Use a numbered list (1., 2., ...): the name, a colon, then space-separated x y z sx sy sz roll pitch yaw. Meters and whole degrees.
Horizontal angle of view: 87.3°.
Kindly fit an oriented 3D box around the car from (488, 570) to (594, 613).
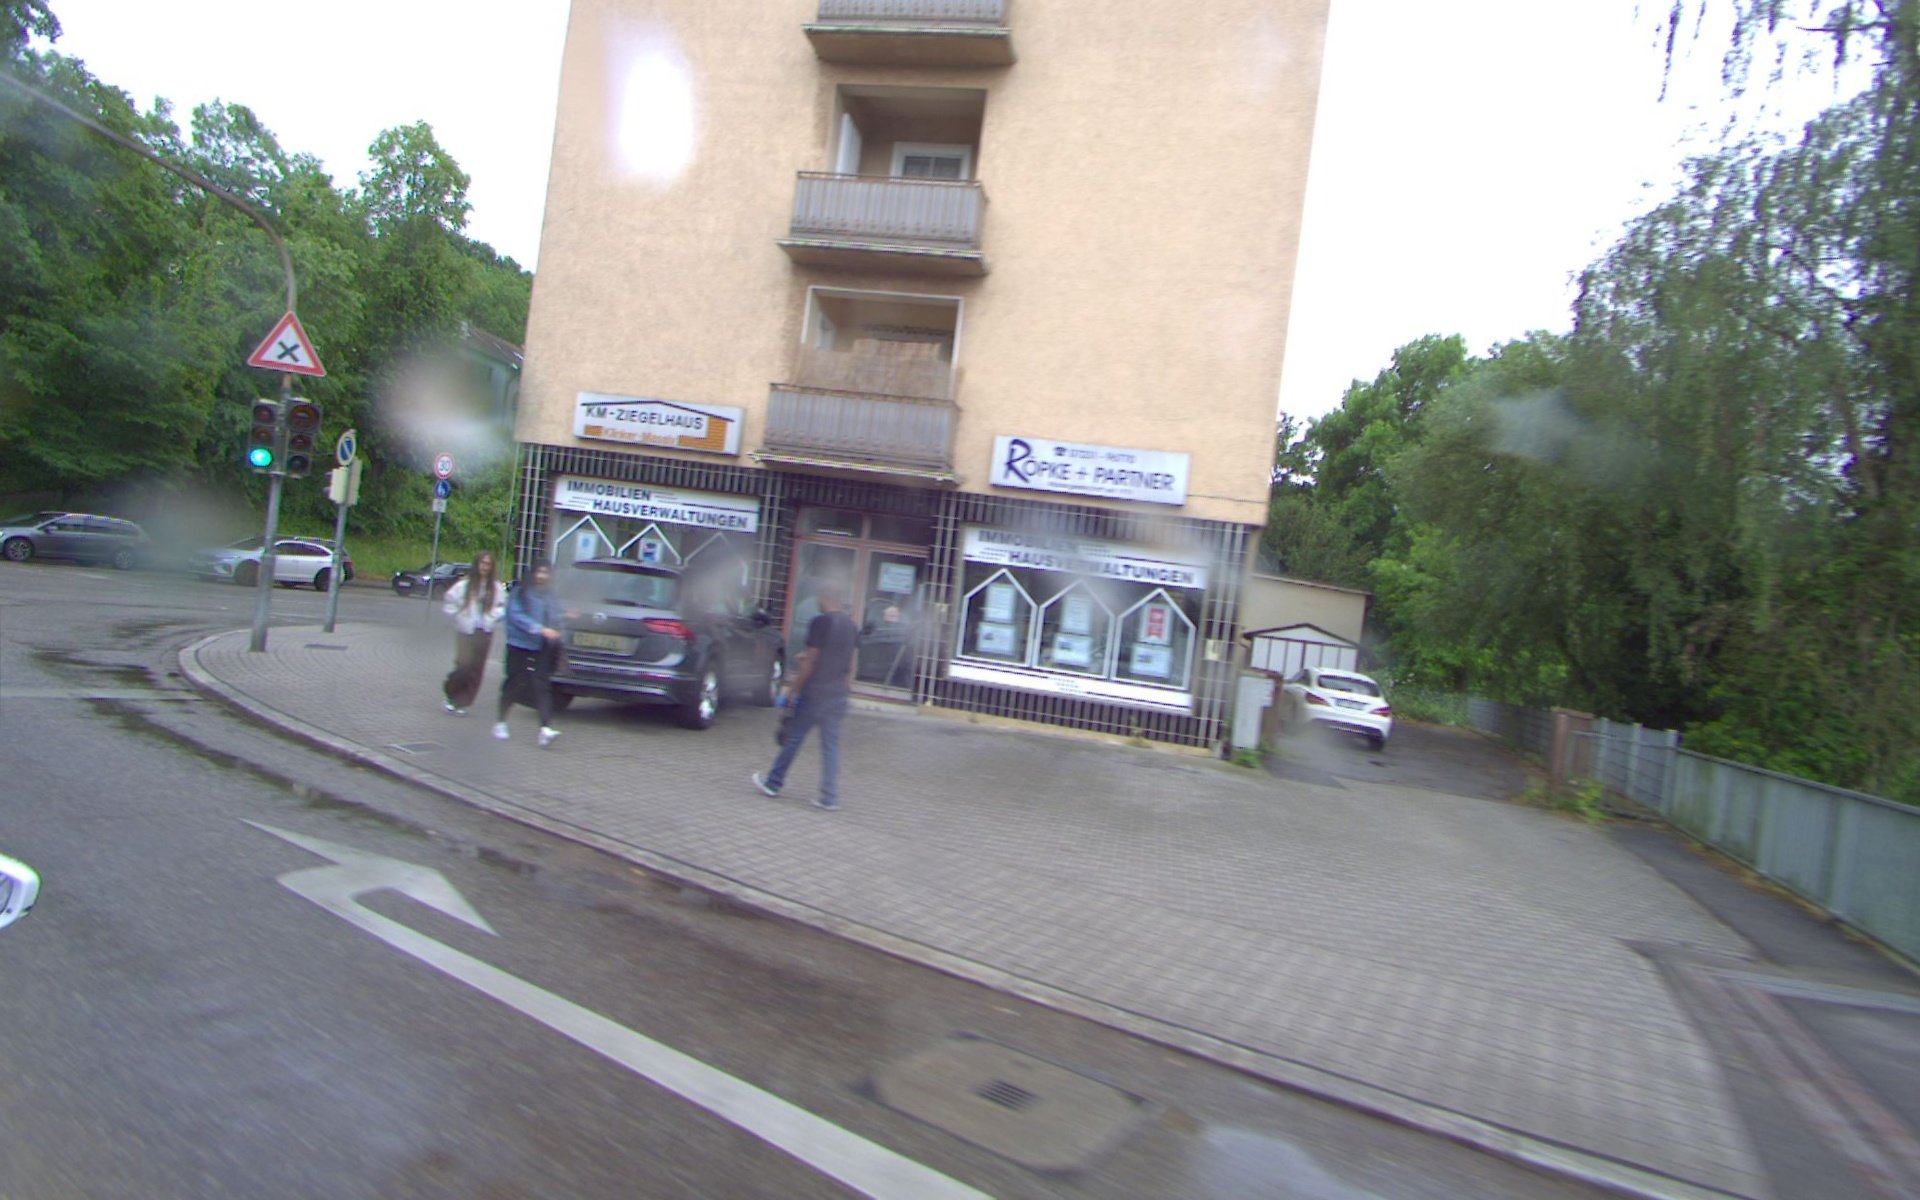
1. car: -17.646 -0.324 42.578 1.775 1.386 4.159 7 -2 17

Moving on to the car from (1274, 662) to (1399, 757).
1. car: 7.679 2.169 20.927 1.782 1.392 4.457 9 0 14

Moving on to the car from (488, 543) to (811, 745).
1. car: -3.220 0.440 11.521 1.847 1.669 4.382 6 0 5

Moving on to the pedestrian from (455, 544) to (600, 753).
1. pedestrian: -3.643 0.392 8.490 0.782 1.621 0.658 7 2 28

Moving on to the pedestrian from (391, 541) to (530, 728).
1. pedestrian: -4.650 0.317 9.368 0.769 1.595 0.761 8 2 35

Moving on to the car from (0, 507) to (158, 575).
1. car: -25.579 -1.690 28.276 1.848 1.520 4.338 6 0 20

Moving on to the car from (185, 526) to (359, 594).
1. car: -23.382 -1.306 34.414 1.793 1.717 4.628 6 -1 19

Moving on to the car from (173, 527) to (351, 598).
1. car: -21.066 -1.084 30.583 1.775 1.580 4.159 7 -1 17

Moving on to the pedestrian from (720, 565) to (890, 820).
1. pedestrian: -1.135 0.653 7.427 0.768 1.699 0.761 8 2 31

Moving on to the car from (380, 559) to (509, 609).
1. car: -19.010 -0.551 37.304 1.775 1.386 4.159 7 -2 17
